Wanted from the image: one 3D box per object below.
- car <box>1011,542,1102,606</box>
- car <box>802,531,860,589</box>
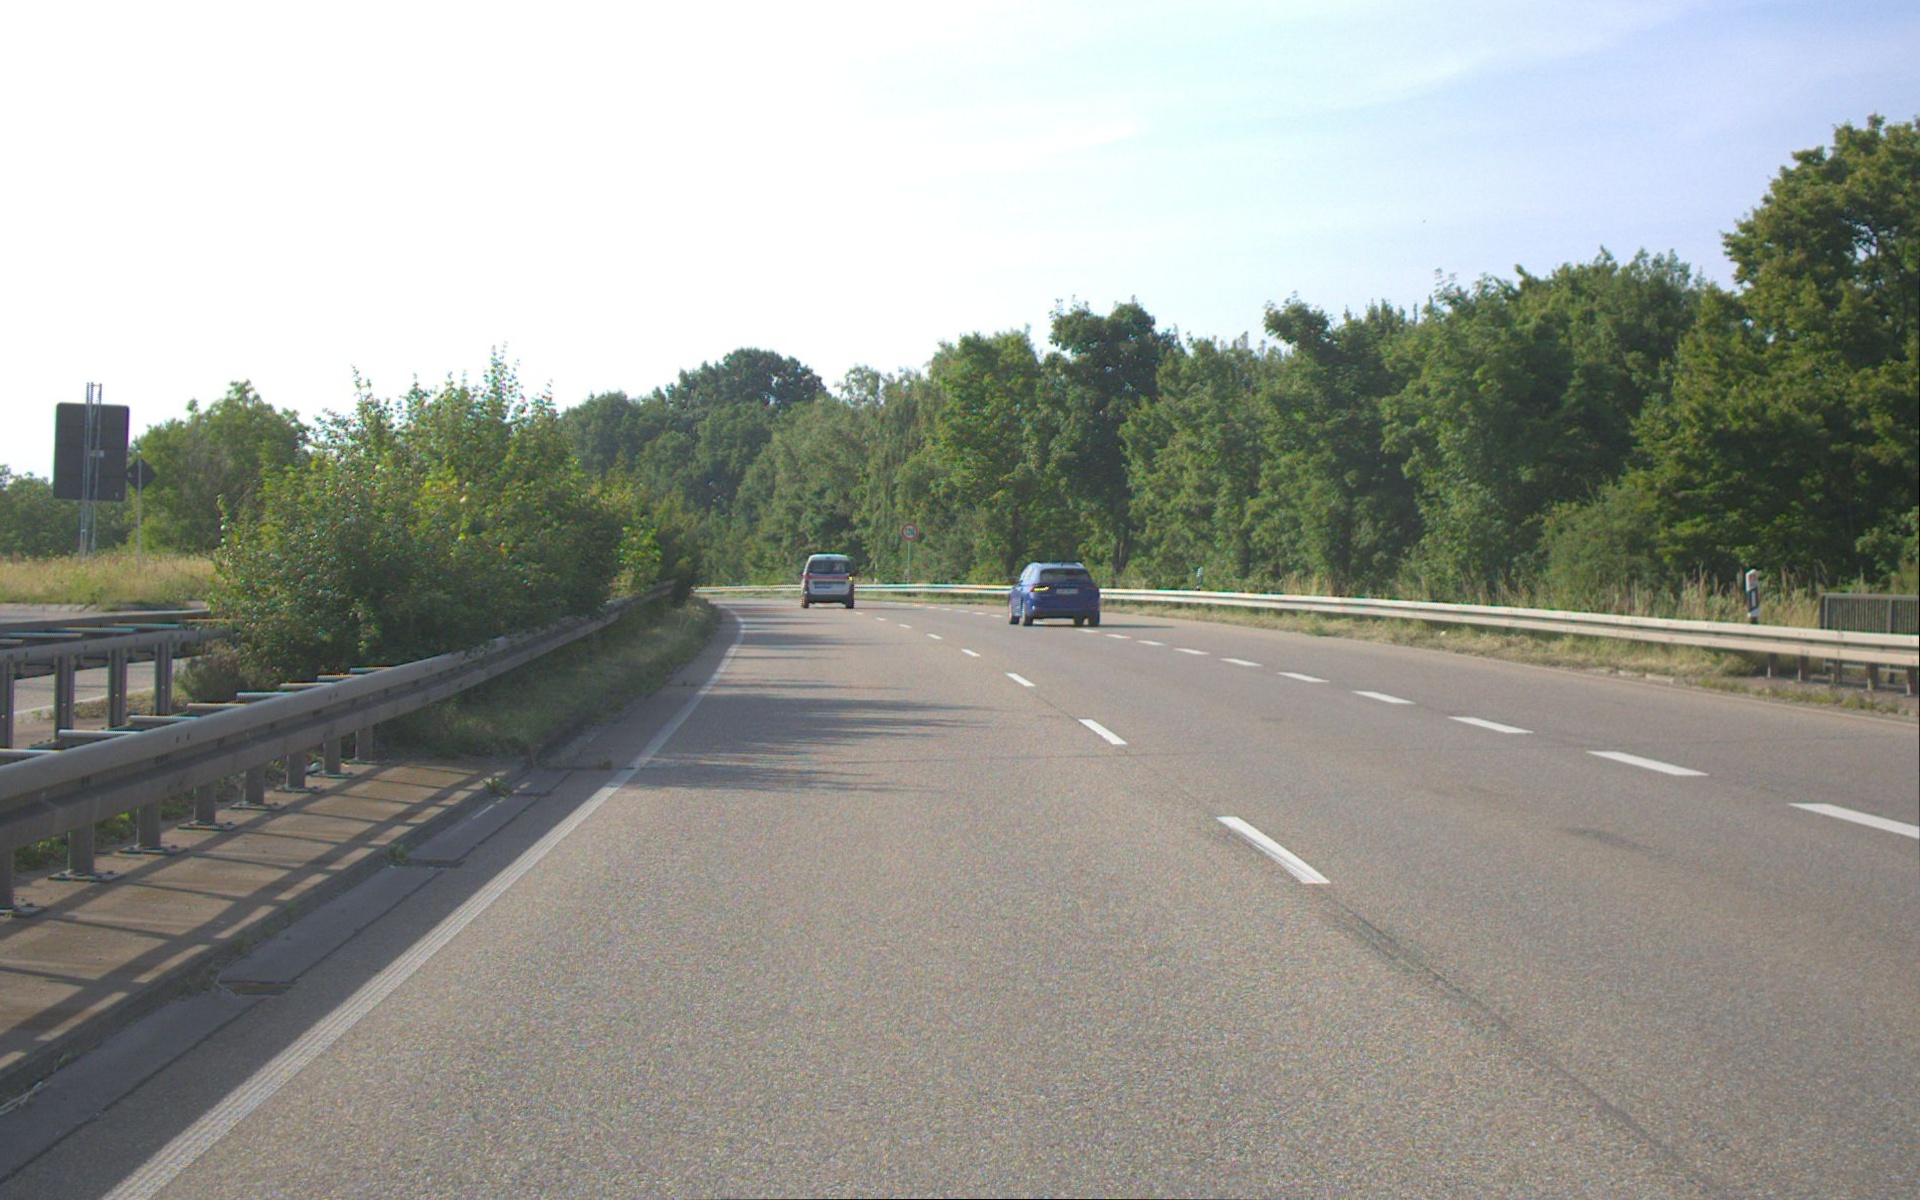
[{"bbox_3d":[2.205,-0.594,79.425,1.779,1.446,4.000,0,0,-3],"label":"car"},{"bbox_3d":[-4.335,-1.342,115.133,1.765,1.875,4.001,0,1,-4],"label":"car"}]
